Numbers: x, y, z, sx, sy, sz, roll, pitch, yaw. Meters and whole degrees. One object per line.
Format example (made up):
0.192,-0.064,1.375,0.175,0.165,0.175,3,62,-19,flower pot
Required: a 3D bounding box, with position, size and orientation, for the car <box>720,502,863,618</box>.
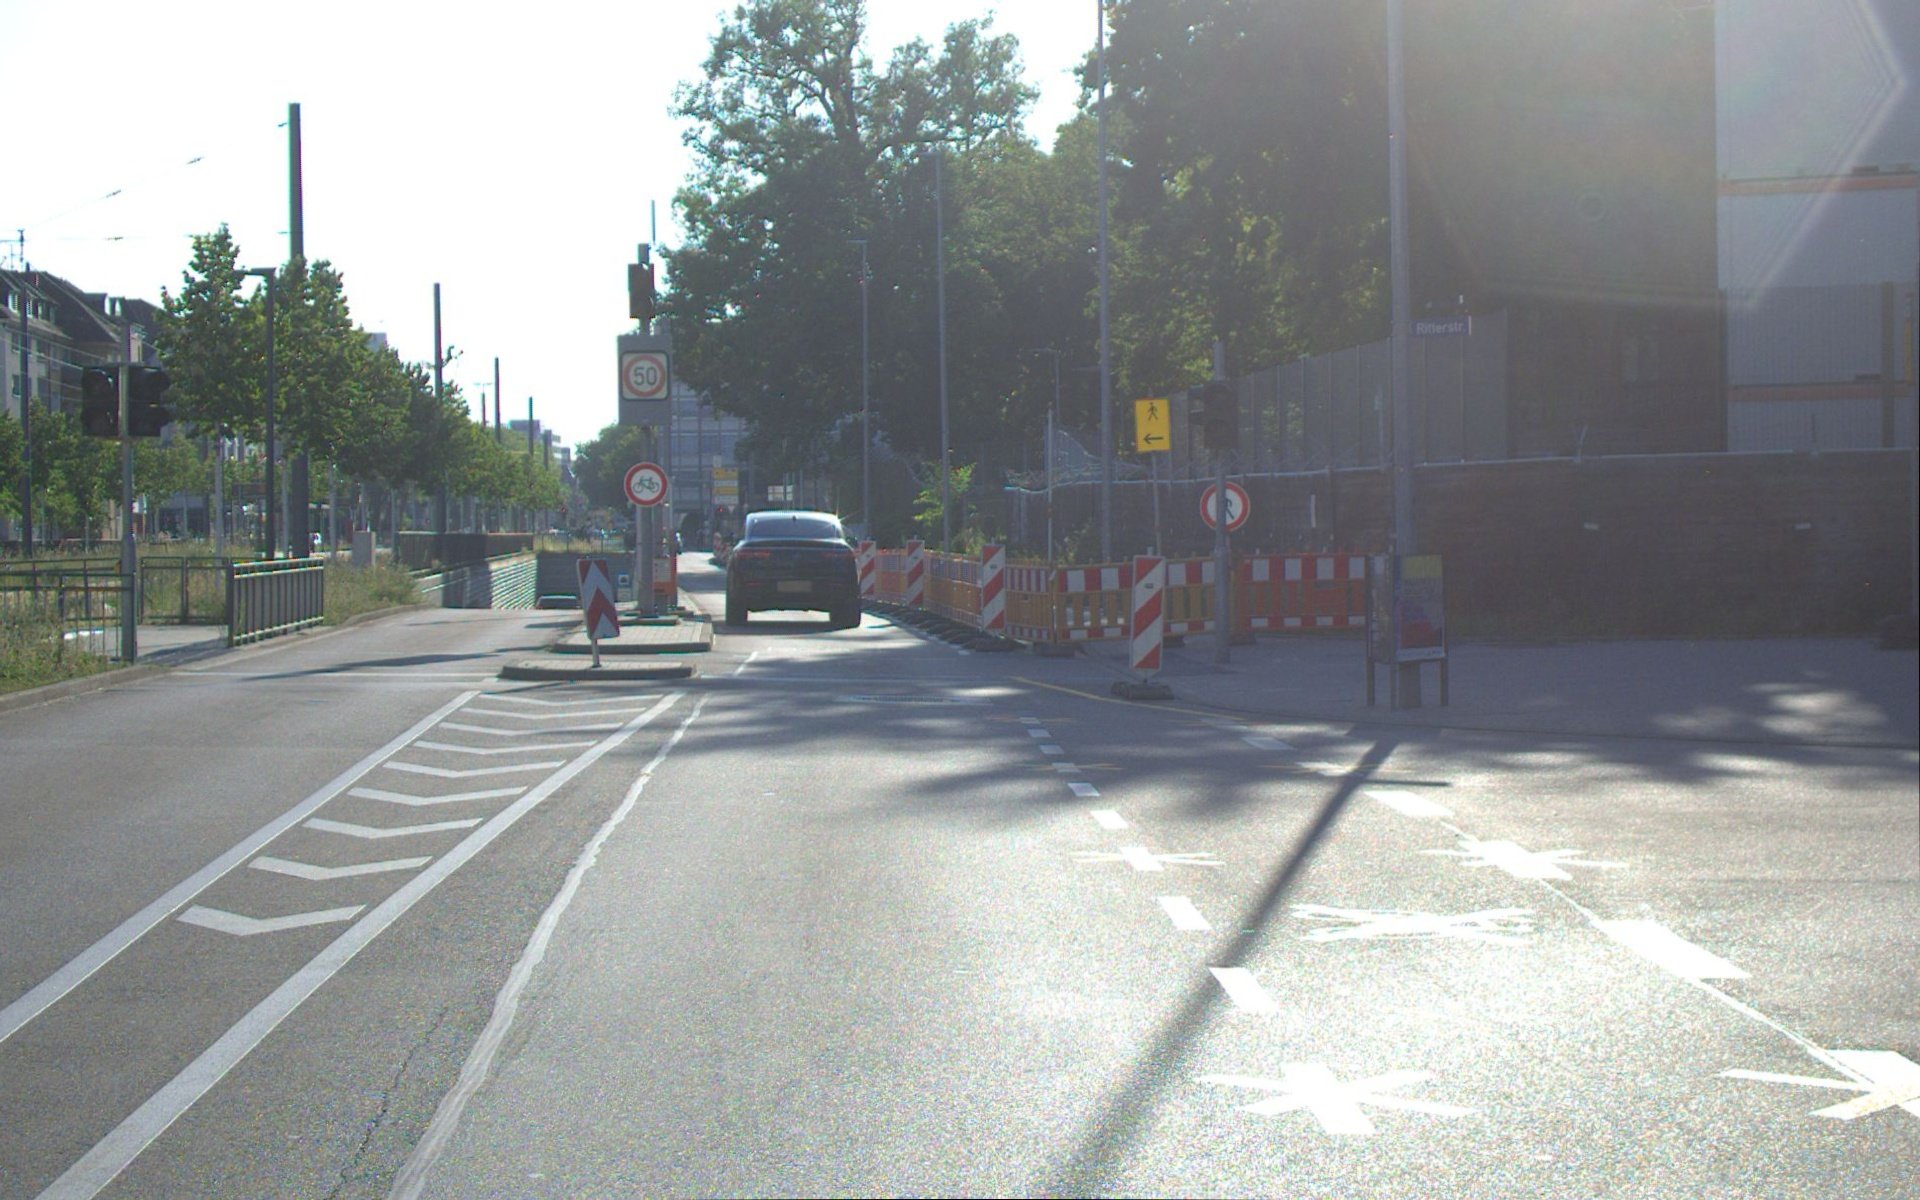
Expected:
-2.604,-0.610,52.329,2.005,1.653,4.001,1,1,-5,car
